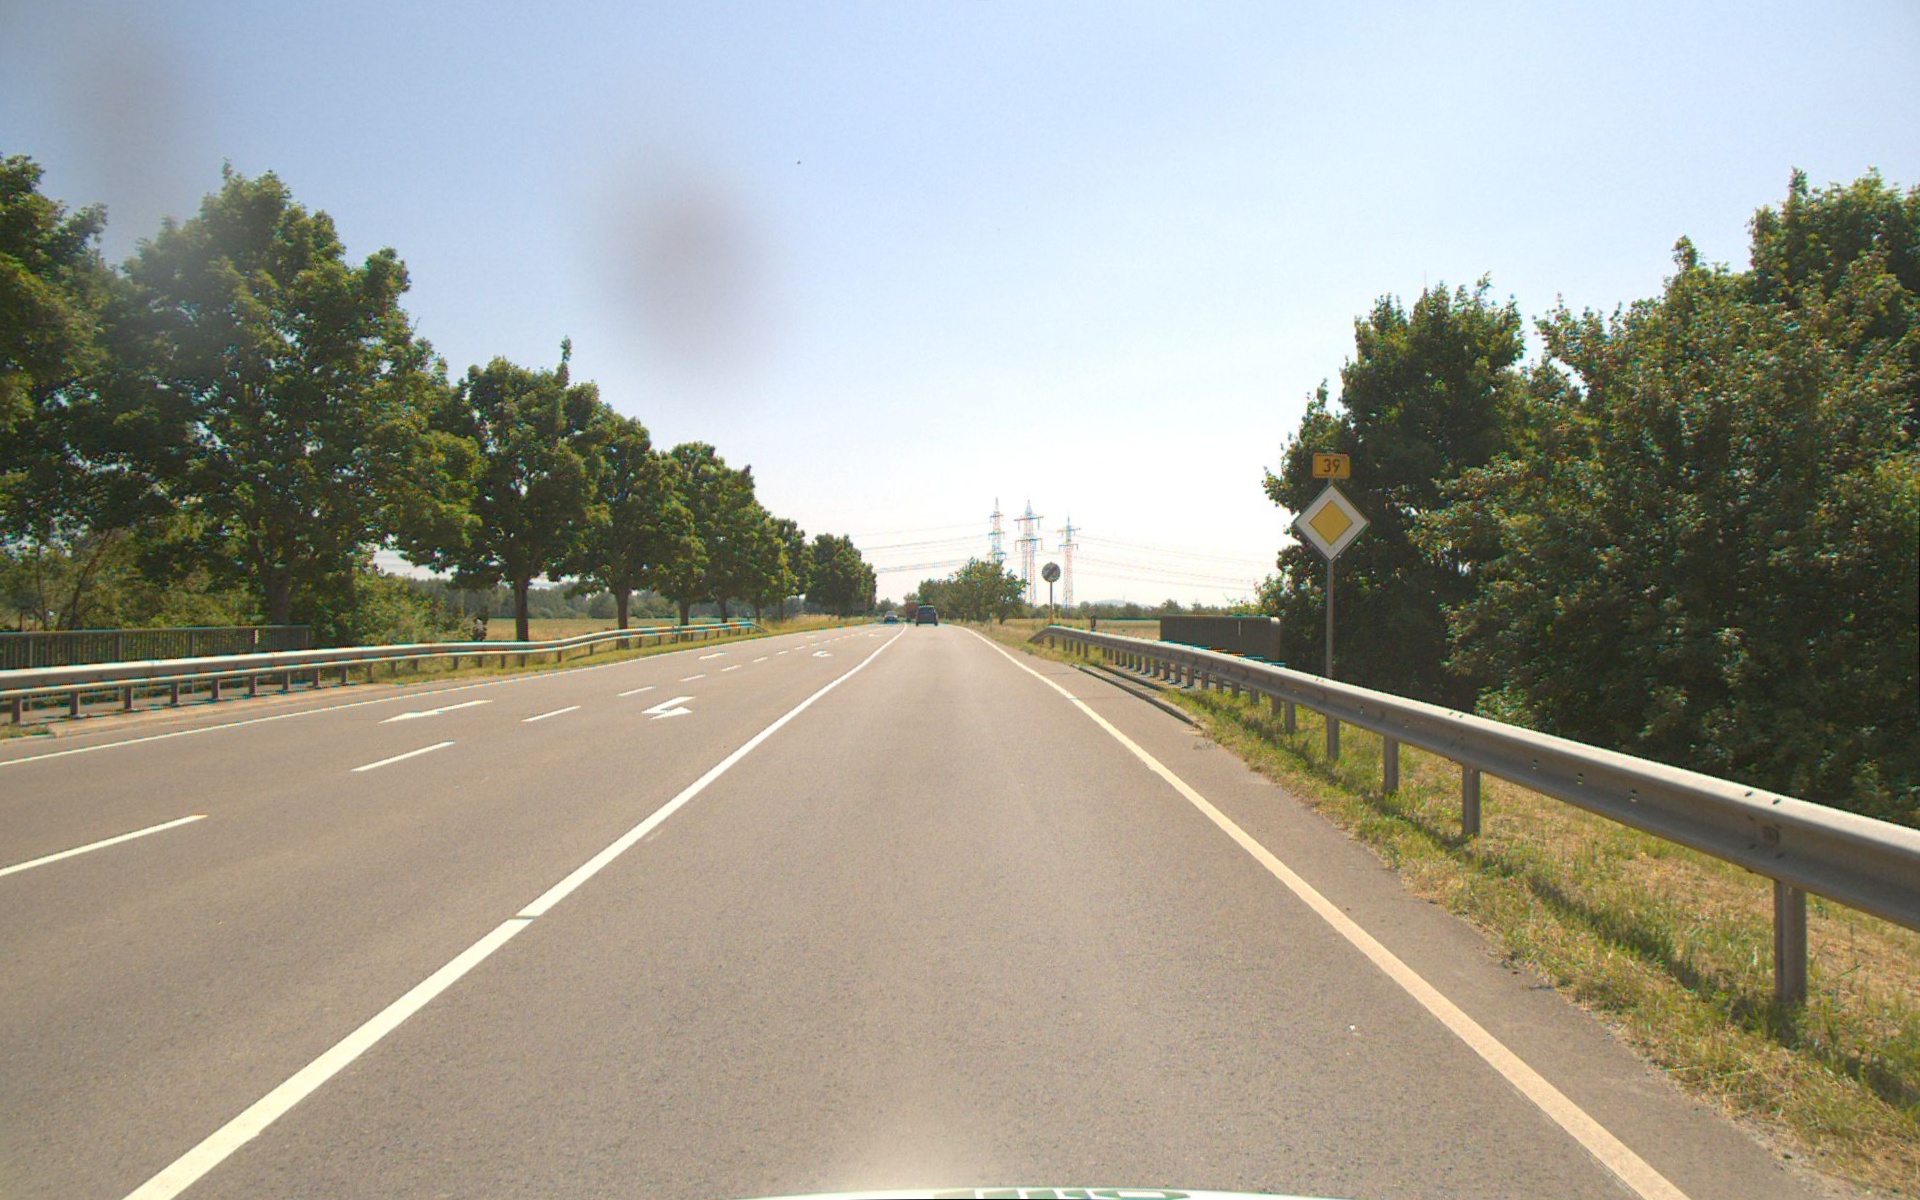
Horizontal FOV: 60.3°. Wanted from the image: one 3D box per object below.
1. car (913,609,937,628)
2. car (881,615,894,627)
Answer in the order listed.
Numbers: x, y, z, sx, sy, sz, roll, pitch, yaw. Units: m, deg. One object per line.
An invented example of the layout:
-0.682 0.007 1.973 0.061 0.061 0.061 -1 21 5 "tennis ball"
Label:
-3.004 1.550 140.808 1.847 1.544 4.037 2 -1 -3 "car"
-9.805 2.815 223.518 1.704 1.499 4.616 -1 -1 -2 "car"
